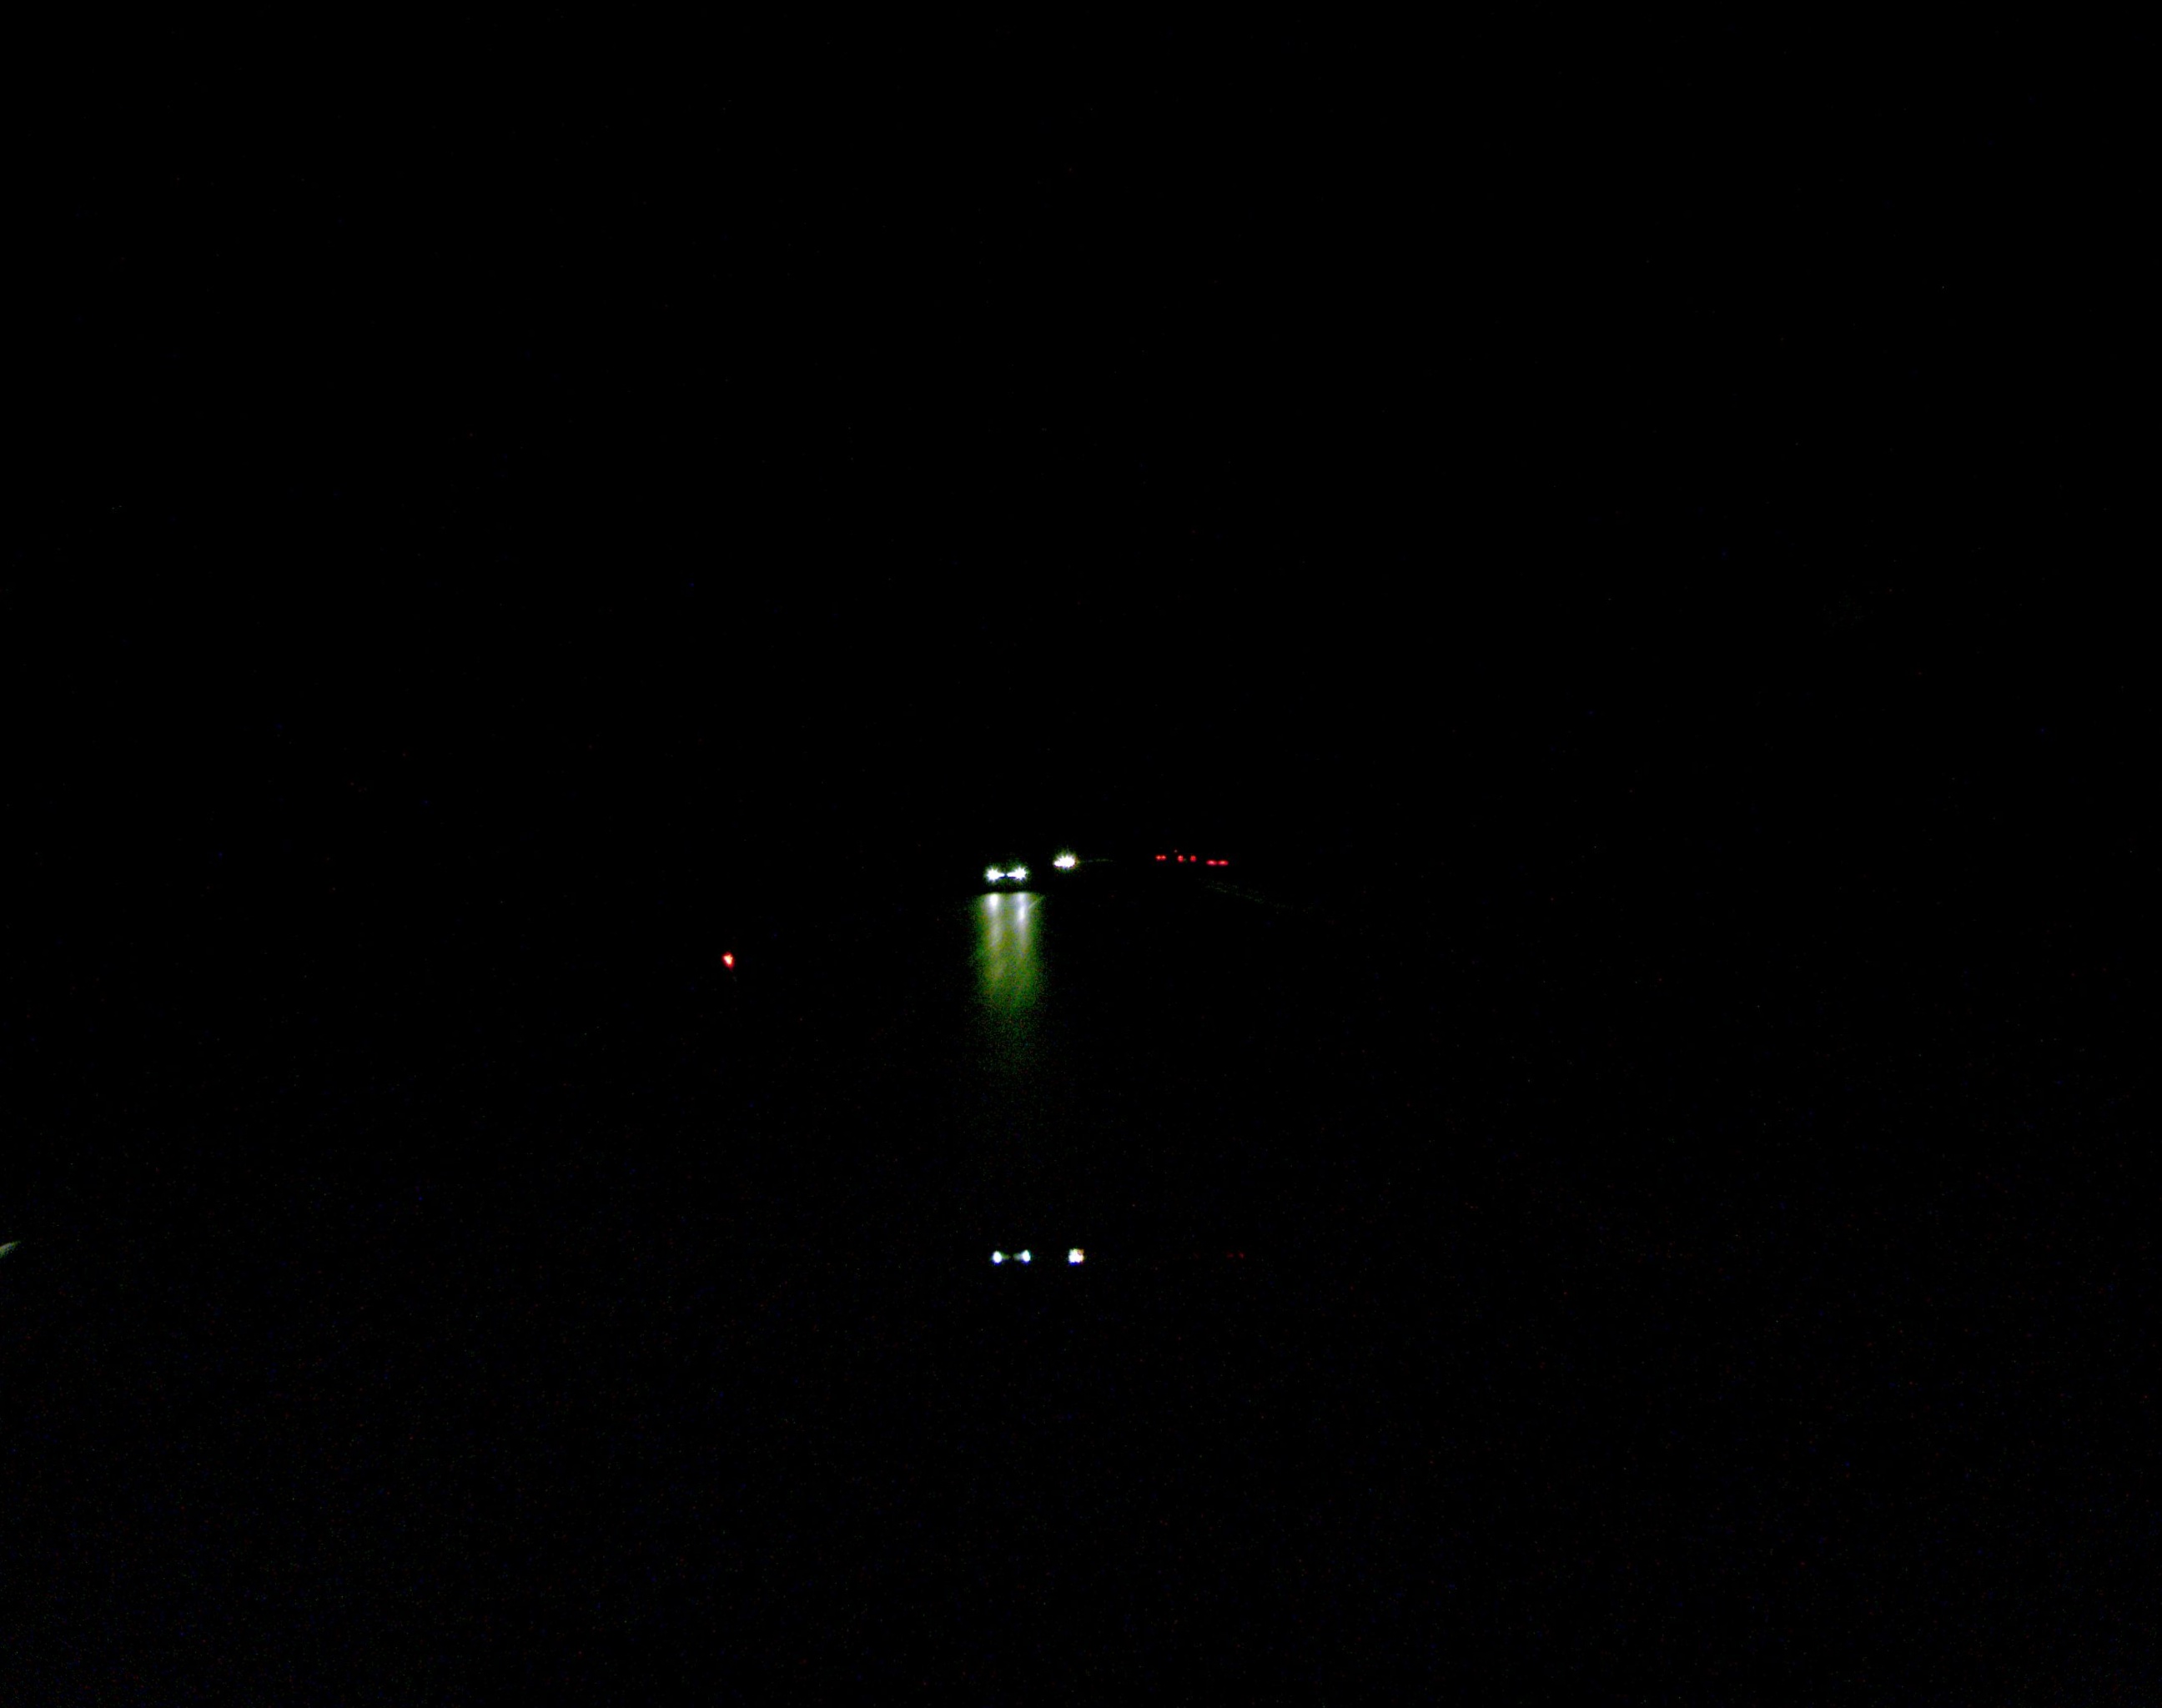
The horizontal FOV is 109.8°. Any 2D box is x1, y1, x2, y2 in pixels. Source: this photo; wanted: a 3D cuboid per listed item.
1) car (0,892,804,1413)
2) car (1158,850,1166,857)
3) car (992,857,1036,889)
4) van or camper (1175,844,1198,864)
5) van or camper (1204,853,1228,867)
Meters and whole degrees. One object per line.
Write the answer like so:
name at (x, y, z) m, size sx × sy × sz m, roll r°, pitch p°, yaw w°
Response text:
car at (-3.304, 1.050, 4.492) m, size 1.690 × 1.405 × 4.225 m, roll -1°, pitch 0°, yaw 1°
car at (20.299, -0.128, 190.584) m, size 1.794 × 1.532 × 4.553 m, roll 4°, pitch 0°, yaw 2°
car at (-3.447, 0.941, 39.719) m, size 1.795 × 1.532 × 4.225 m, roll -2°, pitch 0°, yaw 1°
van or camper at (15.198, -0.052, 109.797) m, size 2.335 × 2.616 × 7.776 m, roll 2°, pitch 1°, yaw 1°
van or camper at (14.528, 0.605, 81.972) m, size 1.784 × 1.433 × 5.102 m, roll 2°, pitch 0°, yaw 1°
